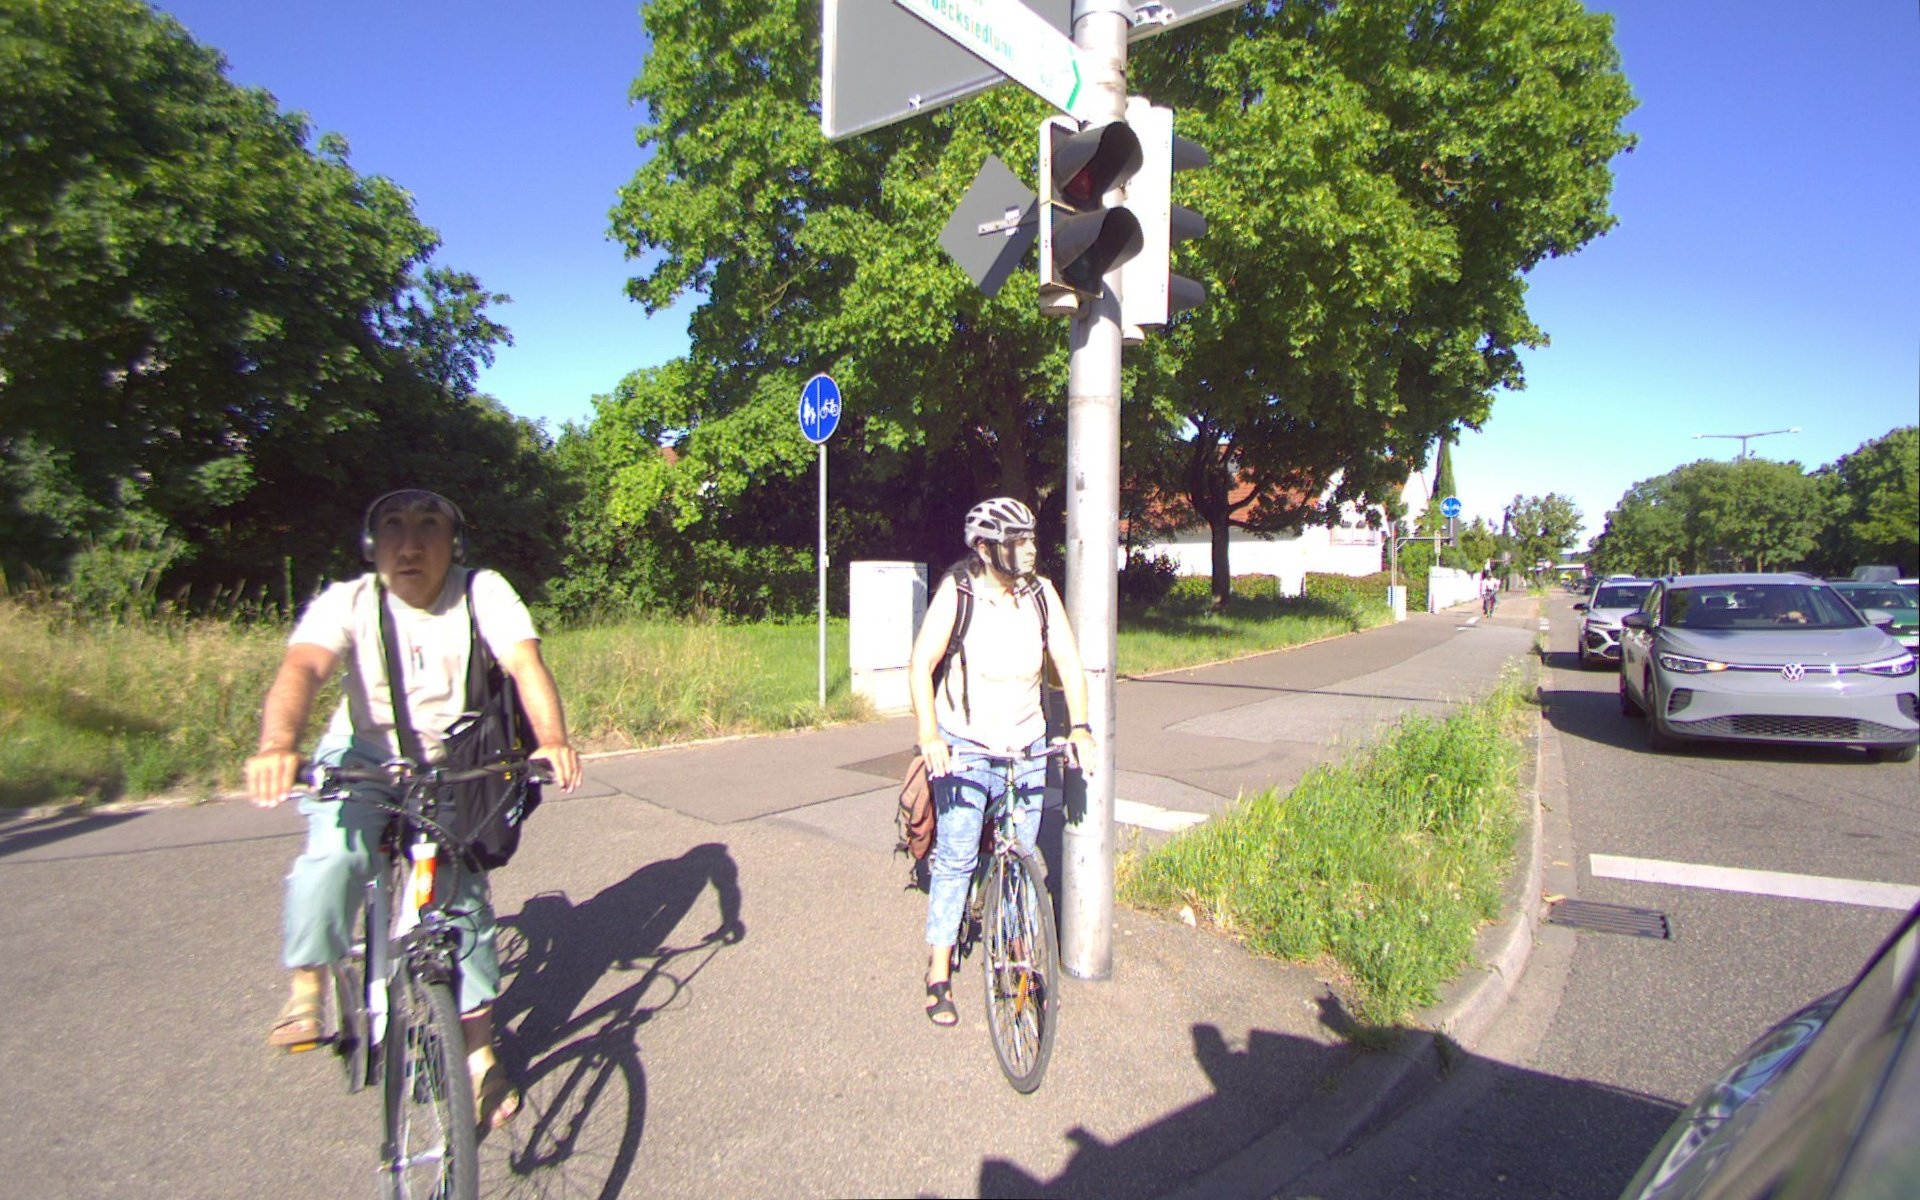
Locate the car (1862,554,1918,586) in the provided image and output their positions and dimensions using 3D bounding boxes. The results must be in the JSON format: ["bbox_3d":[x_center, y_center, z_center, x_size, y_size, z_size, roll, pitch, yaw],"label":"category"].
[{"bbox_3d":[65.169,-2.114,70.984,1.902,2.111,4.491,-2,0,31],"label":"car"}]

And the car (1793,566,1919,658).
[{"bbox_3d":[16.968,0.153,18.664,1.906,1.504,4.315,-2,0,32],"label":"car"}]

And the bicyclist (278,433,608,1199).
[{"bbox_3d":[-1.264,0.471,2.440,0.533,1.654,0.808,-3,5,-36],"label":"bicyclist"}]

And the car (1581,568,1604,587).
[{"bbox_3d":[64.034,-2.298,102.448,1.826,1.820,3.870,-2,0,30],"label":"car"}]

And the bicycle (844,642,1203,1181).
[{"bbox_3d":[0.073,0.803,3.414,0.520,1.089,1.875,-2,5,-19],"label":"bicycle"}]

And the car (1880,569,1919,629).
[{"bbox_3d":[25.234,-0.054,25.905,1.679,1.458,3.870,-2,0,30],"label":"car"}]

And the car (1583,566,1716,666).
[{"bbox_3d":[12.423,0.227,18.451,1.679,1.593,4.077,-2,0,30],"label":"car"}]

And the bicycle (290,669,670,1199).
[{"bbox_3d":[-1.283,0.867,2.486,0.521,1.089,1.872,-3,7,-35],"label":"bicycle"}]

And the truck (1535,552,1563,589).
[{"bbox_3d":[52.146,-2.641,89.672,1.983,3.115,5.747,-2,0,30],"label":"truck"}]

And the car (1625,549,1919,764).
[{"bbox_3d":[7.896,0.402,10.084,1.979,1.661,4.315,-2,0,32],"label":"car"}]

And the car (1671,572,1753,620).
[{"bbox_3d":[26.122,-0.170,35.284,1.906,1.504,4.315,-2,0,32],"label":"car"}]

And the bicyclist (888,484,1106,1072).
[{"bbox_3d":[0.105,0.497,3.272,0.516,1.716,0.587,-2,4,-19],"label":"bicyclist"}]

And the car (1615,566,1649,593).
[{"bbox_3d":[48.757,-1.503,73.459,1.784,1.820,3.870,-2,0,30],"label":"car"}]
